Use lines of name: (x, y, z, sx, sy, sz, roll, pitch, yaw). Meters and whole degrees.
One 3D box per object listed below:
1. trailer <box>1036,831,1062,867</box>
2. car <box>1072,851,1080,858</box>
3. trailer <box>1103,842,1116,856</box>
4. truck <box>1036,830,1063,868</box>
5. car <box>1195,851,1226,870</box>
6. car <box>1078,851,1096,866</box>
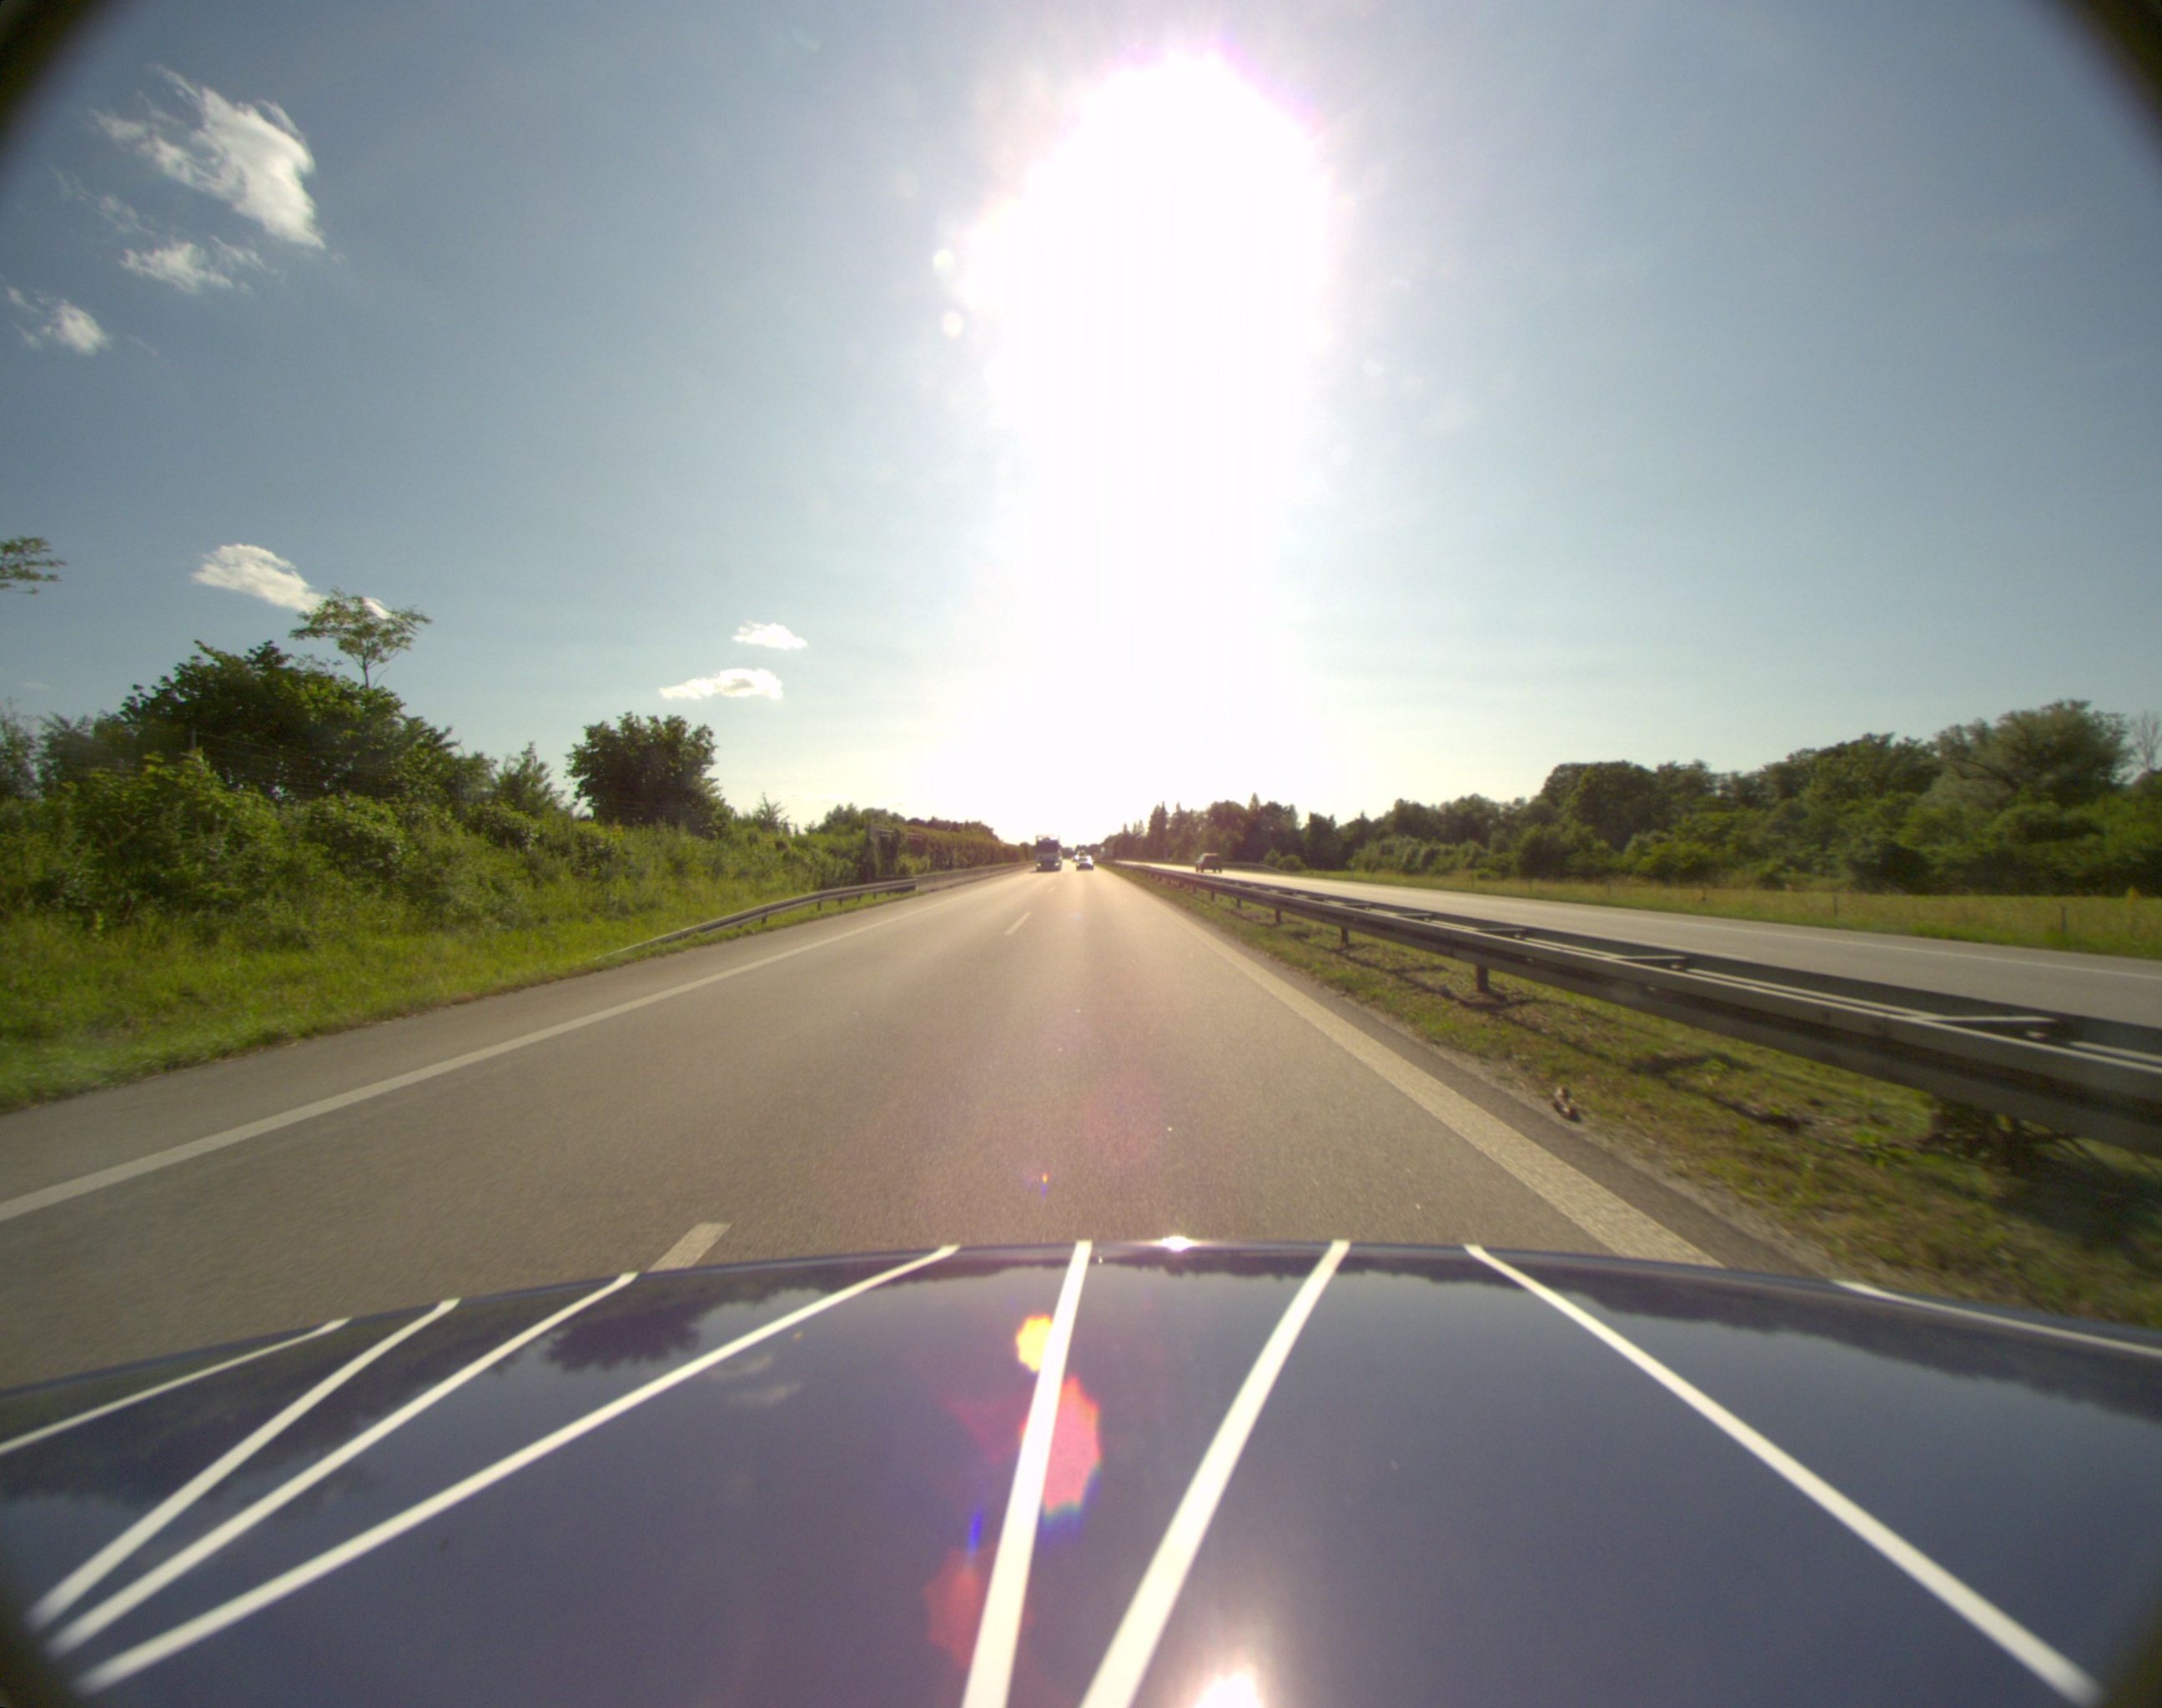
trailer: (-3.738, -0.591, 90.097, 2.826, 3.943, 14.156, 0, 0, -2)
car: (-1.132, 0.167, 181.637, 1.742, 1.514, 3.998, -1, 1, -3)
trailer: (8.557, -1.472, 226.410, 3.159, 4.100, 13.439, 0, 0, -1)
truck: (-3.476, -0.512, 83.359, 2.848, 3.943, 7.042, 0, 0, -3)
car: (11.414, 0.560, 67.275, 1.998, 1.652, 4.775, 1, 0, 0)
car: (0.598, 0.487, 80.280, 1.871, 1.514, 4.283, 1, 0, -1)
